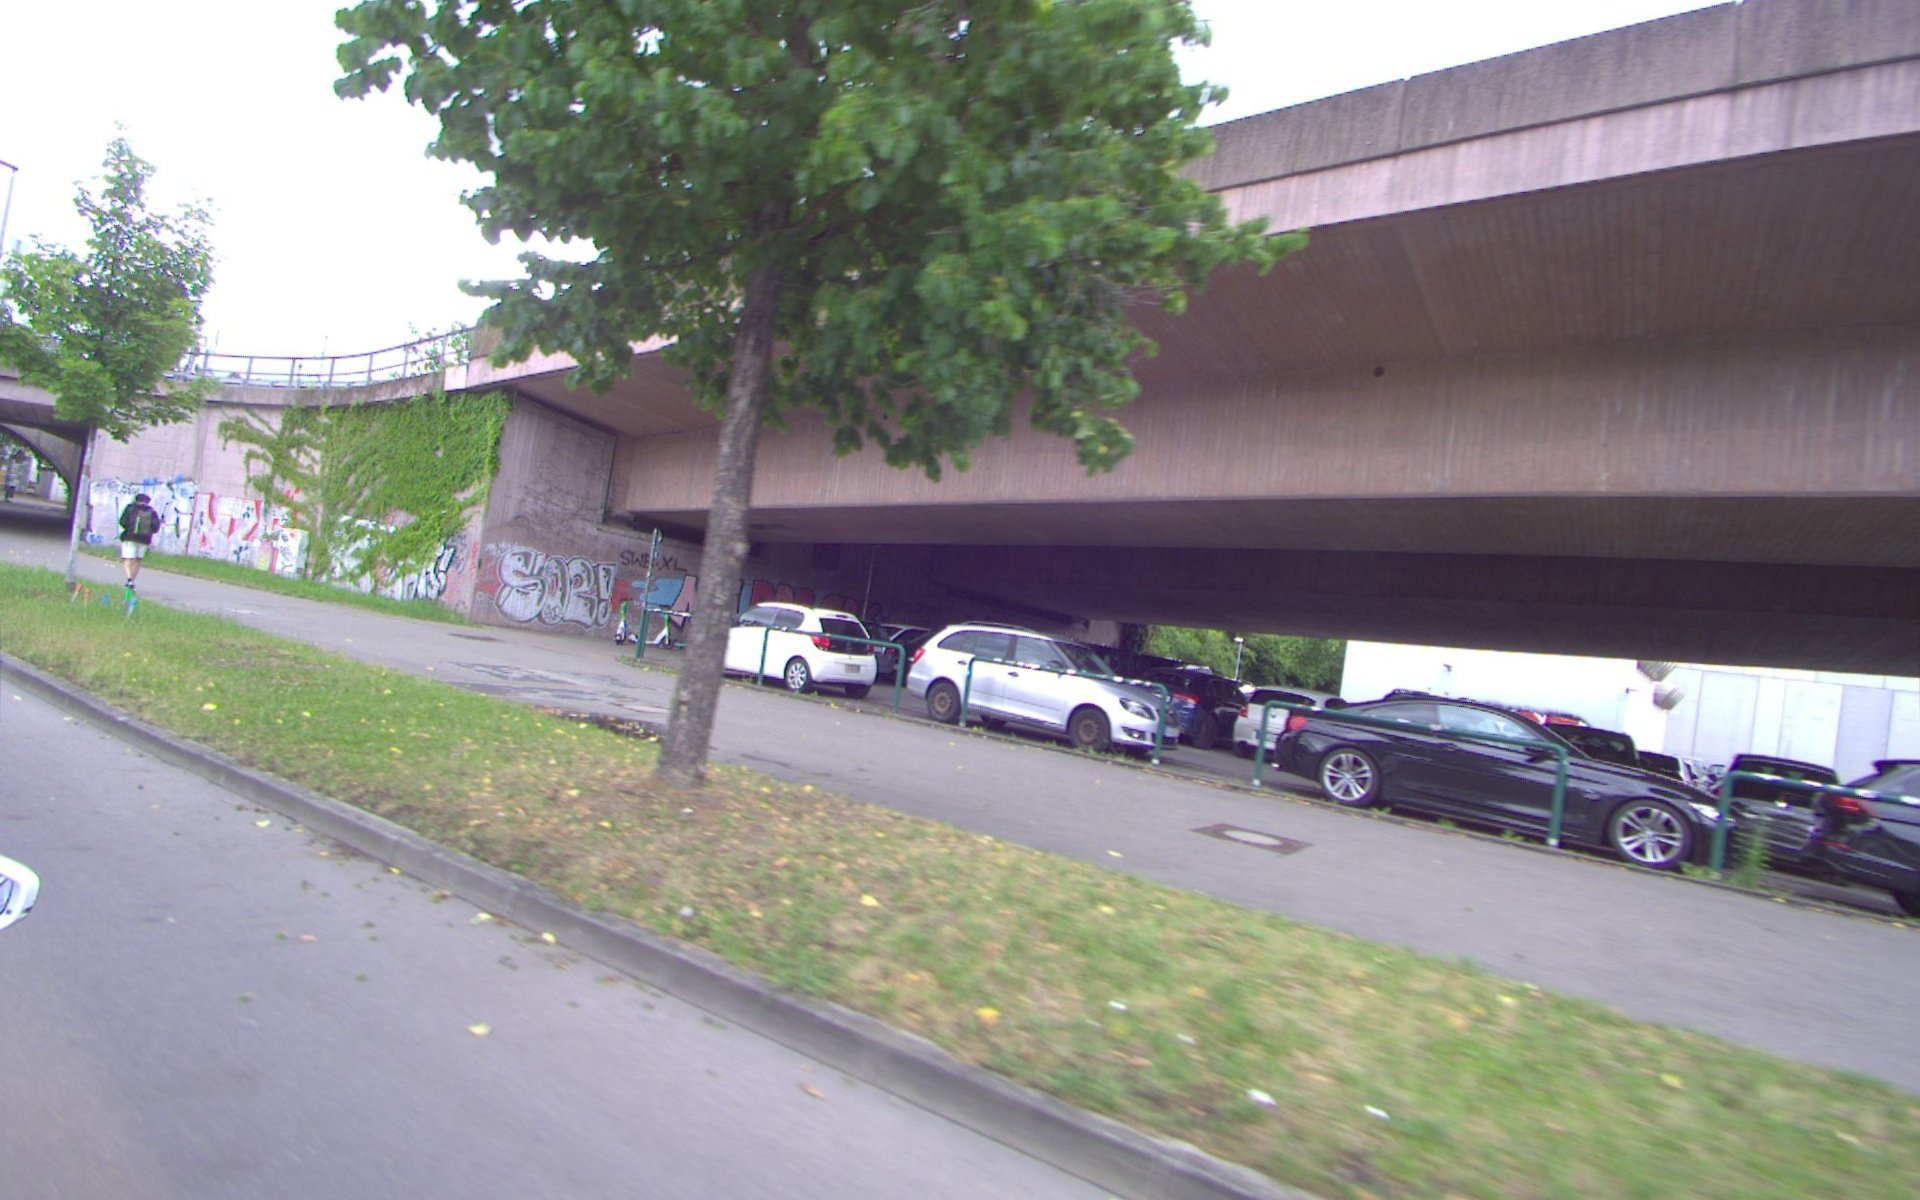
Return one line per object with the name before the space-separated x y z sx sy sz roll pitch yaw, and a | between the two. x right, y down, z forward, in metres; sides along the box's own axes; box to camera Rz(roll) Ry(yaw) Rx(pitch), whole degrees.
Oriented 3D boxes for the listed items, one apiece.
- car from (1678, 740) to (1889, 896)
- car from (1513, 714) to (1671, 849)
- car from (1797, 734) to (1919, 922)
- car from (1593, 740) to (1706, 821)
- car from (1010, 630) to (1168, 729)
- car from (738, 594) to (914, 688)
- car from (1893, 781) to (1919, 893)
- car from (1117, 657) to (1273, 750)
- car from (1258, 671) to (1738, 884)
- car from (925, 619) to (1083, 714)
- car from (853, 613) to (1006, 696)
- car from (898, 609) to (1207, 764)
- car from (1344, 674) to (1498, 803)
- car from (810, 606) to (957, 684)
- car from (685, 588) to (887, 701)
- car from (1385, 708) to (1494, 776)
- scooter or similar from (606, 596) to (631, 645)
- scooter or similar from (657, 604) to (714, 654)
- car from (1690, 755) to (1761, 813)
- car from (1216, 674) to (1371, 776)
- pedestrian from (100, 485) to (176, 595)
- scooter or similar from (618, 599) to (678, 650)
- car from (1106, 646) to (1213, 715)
car | 11.381 2.920 14.164 1.671 1.572 3.858 8 -3 33
car | 9.986 2.788 15.947 1.729 1.572 3.858 8 -3 33
car | 9.527 2.184 8.049 4.186 1.435 1.507 6 -4 39
car | 16.551 4.280 24.080 1.811 1.443 3.851 8 -3 39
car | 2.888 1.778 21.756 1.729 1.656 3.858 8 -3 33
car | -3.107 0.899 22.851 3.947 1.515 1.742 7 -2 44
car | 13.285 3.196 12.492 1.671 1.459 3.858 8 -3 33
car | 4.831 2.135 20.319 1.729 1.454 3.858 8 -3 33
car | 5.775 1.811 11.100 4.309 1.336 1.768 7 -3 38
car | 1.095 1.560 22.914 1.729 1.656 3.858 8 -3 33
car | -0.658 1.381 24.680 1.729 1.495 3.858 8 -3 33
car | 1.262 1.203 14.513 4.005 1.552 1.614 7 -3 35
car | 8.032 2.368 17.335 1.729 1.713 3.858 8 -3 33
car | -1.935 1.236 26.552 1.729 1.495 3.858 8 -3 33
car | -3.126 0.760 17.815 3.328 1.456 1.575 7 -3 39
car | 12.991 3.855 27.135 1.654 1.443 3.851 8 -3 39
scooter or similar | -8.505 0.495 25.087 0.265 1.142 1.677 8 -2 -12
scooter or similar | -7.542 0.798 27.648 1.411 1.181 0.270 8 -1 11
car | 27.781 6.640 36.462 1.811 1.610 4.180 8 -3 39
car | 6.351 2.350 18.878 1.729 1.450 3.858 8 -3 33
pedestrian | -15.585 -1.139 19.082 0.812 1.929 0.735 7 -1 37
scooter or similar | -8.287 0.644 26.745 1.411 1.142 0.270 8 -1 11
car | 6.777 2.747 33.881 1.856 1.808 3.653 8 -3 39
